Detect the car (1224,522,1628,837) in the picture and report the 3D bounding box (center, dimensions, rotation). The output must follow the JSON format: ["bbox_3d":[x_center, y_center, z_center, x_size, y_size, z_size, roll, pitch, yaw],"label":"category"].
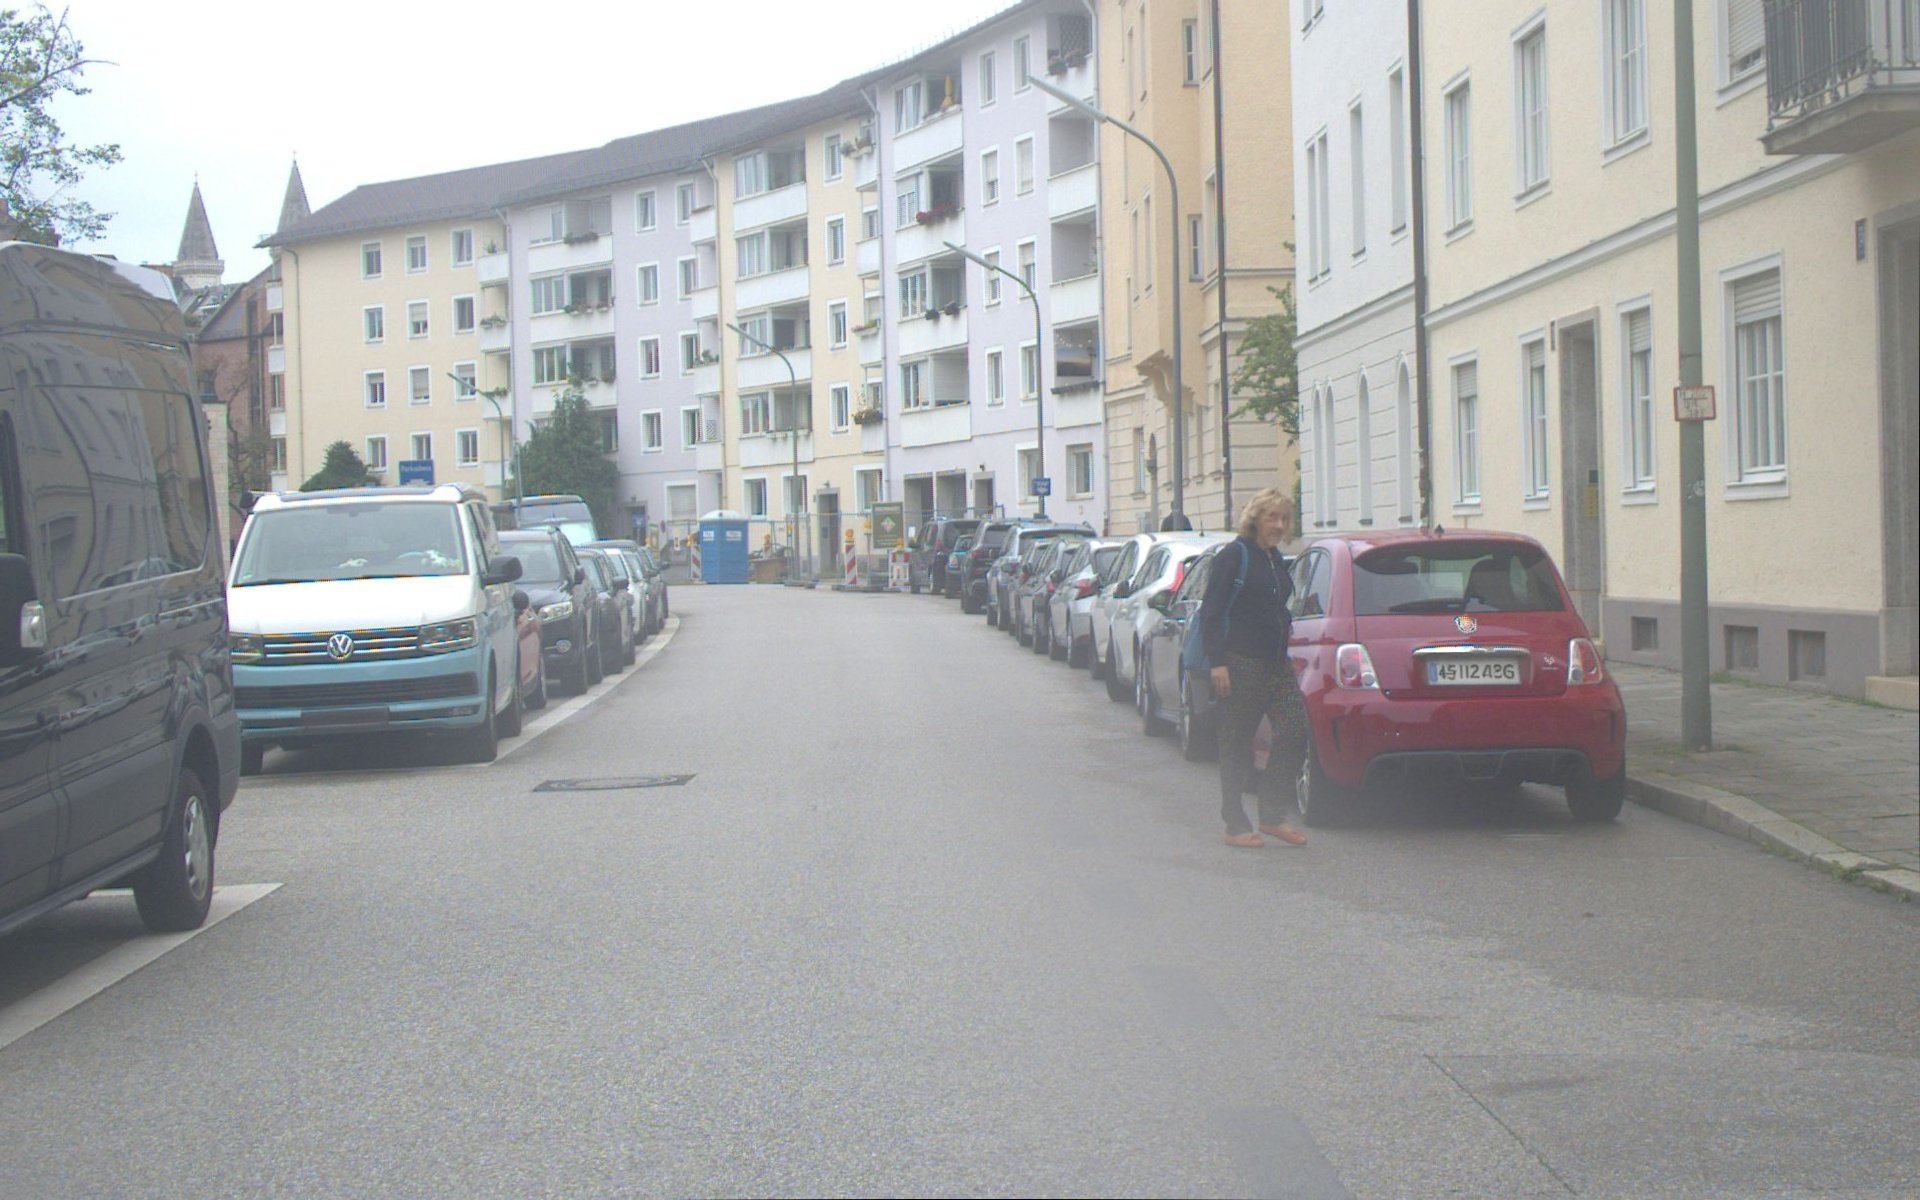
[{"bbox_3d":[2.420,0.355,18.684,1.595,1.503,3.801,-1,1,-1],"label":"car"}]

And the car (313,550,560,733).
[{"bbox_3d":[-4.470,0.310,29.781,1.652,1.368,3.653,-3,1,-2],"label":"car"}]

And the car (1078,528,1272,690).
[{"bbox_3d":[2.094,0.042,34.309,1.599,1.486,3.799,-1,2,-1],"label":"car"}]

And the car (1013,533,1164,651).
[{"bbox_3d":[1.613,-0.139,44.428,1.590,1.427,4.422,0,1,-2],"label":"car"}]

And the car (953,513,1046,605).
[{"bbox_3d":[0.706,-0.772,63.509,1.474,1.635,4.001,0,1,-3],"label":"car"}]

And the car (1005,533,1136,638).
[{"bbox_3d":[1.546,-0.234,49.163,1.590,1.427,3.826,0,1,-2],"label":"car"}]

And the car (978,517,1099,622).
[{"bbox_3d":[1.196,-0.502,53.899,1.590,1.577,4.300,0,1,-3],"label":"car"}]

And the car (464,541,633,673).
[{"bbox_3d":[-4.837,0.050,40.778,1.623,1.407,3.799,-3,1,-2],"label":"car"}]

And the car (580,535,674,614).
[{"bbox_3d":[-6.405,-0.510,66.370,1.623,1.414,3.648,-2,1,-4],"label":"car"}]

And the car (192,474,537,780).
[{"bbox_3d":[-4.221,0.126,25.062,1.882,1.925,4.602,-3,1,-3],"label":"car"}]

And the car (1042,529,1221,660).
[{"bbox_3d":[1.914,-0.075,39.374,1.692,1.427,3.945,0,0,-2],"label":"car"}]

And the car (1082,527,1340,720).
[{"bbox_3d":[2.075,0.140,29.497,1.692,1.486,4.283,-2,1,-2],"label":"car"}]

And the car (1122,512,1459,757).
[{"bbox_3d":[2.176,0.197,23.736,1.692,1.486,4.343,-2,1,-2],"label":"car"}]

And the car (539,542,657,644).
[{"bbox_3d":[-5.438,-0.134,51.965,1.623,1.414,3.982,-2,1,-5],"label":"car"}]

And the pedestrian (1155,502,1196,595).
[{"bbox_3d":[3.942,-0.936,62.881,0.667,1.687,0.690,1,0,-1],"label":"pedestrian"}]

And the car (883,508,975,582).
[{"bbox_3d":[-0.746,-1.294,80.289,1.601,1.709,3.090,0,1,-11],"label":"car"}]

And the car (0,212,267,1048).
[{"bbox_3d":[-4.061,0.072,12.032,2.088,2.627,5.377,-1,1,0],"label":"car"}]

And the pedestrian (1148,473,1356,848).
[{"bbox_3d":[1.371,0.284,16.215,0.793,1.722,0.673,0,-1,-15],"label":"pedestrian"}]

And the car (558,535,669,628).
[{"bbox_3d":[-5.701,-0.326,56.829,1.623,1.414,3.982,-2,1,-4],"label":"car"}]

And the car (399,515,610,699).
[{"bbox_3d":[-4.608,0.019,35.269,1.701,1.685,4.028,-3,1,-2],"label":"car"}]

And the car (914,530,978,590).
[{"bbox_3d":[-0.315,-0.890,75.825,1.272,1.294,2.798,-1,1,-3],"label":"car"}]
